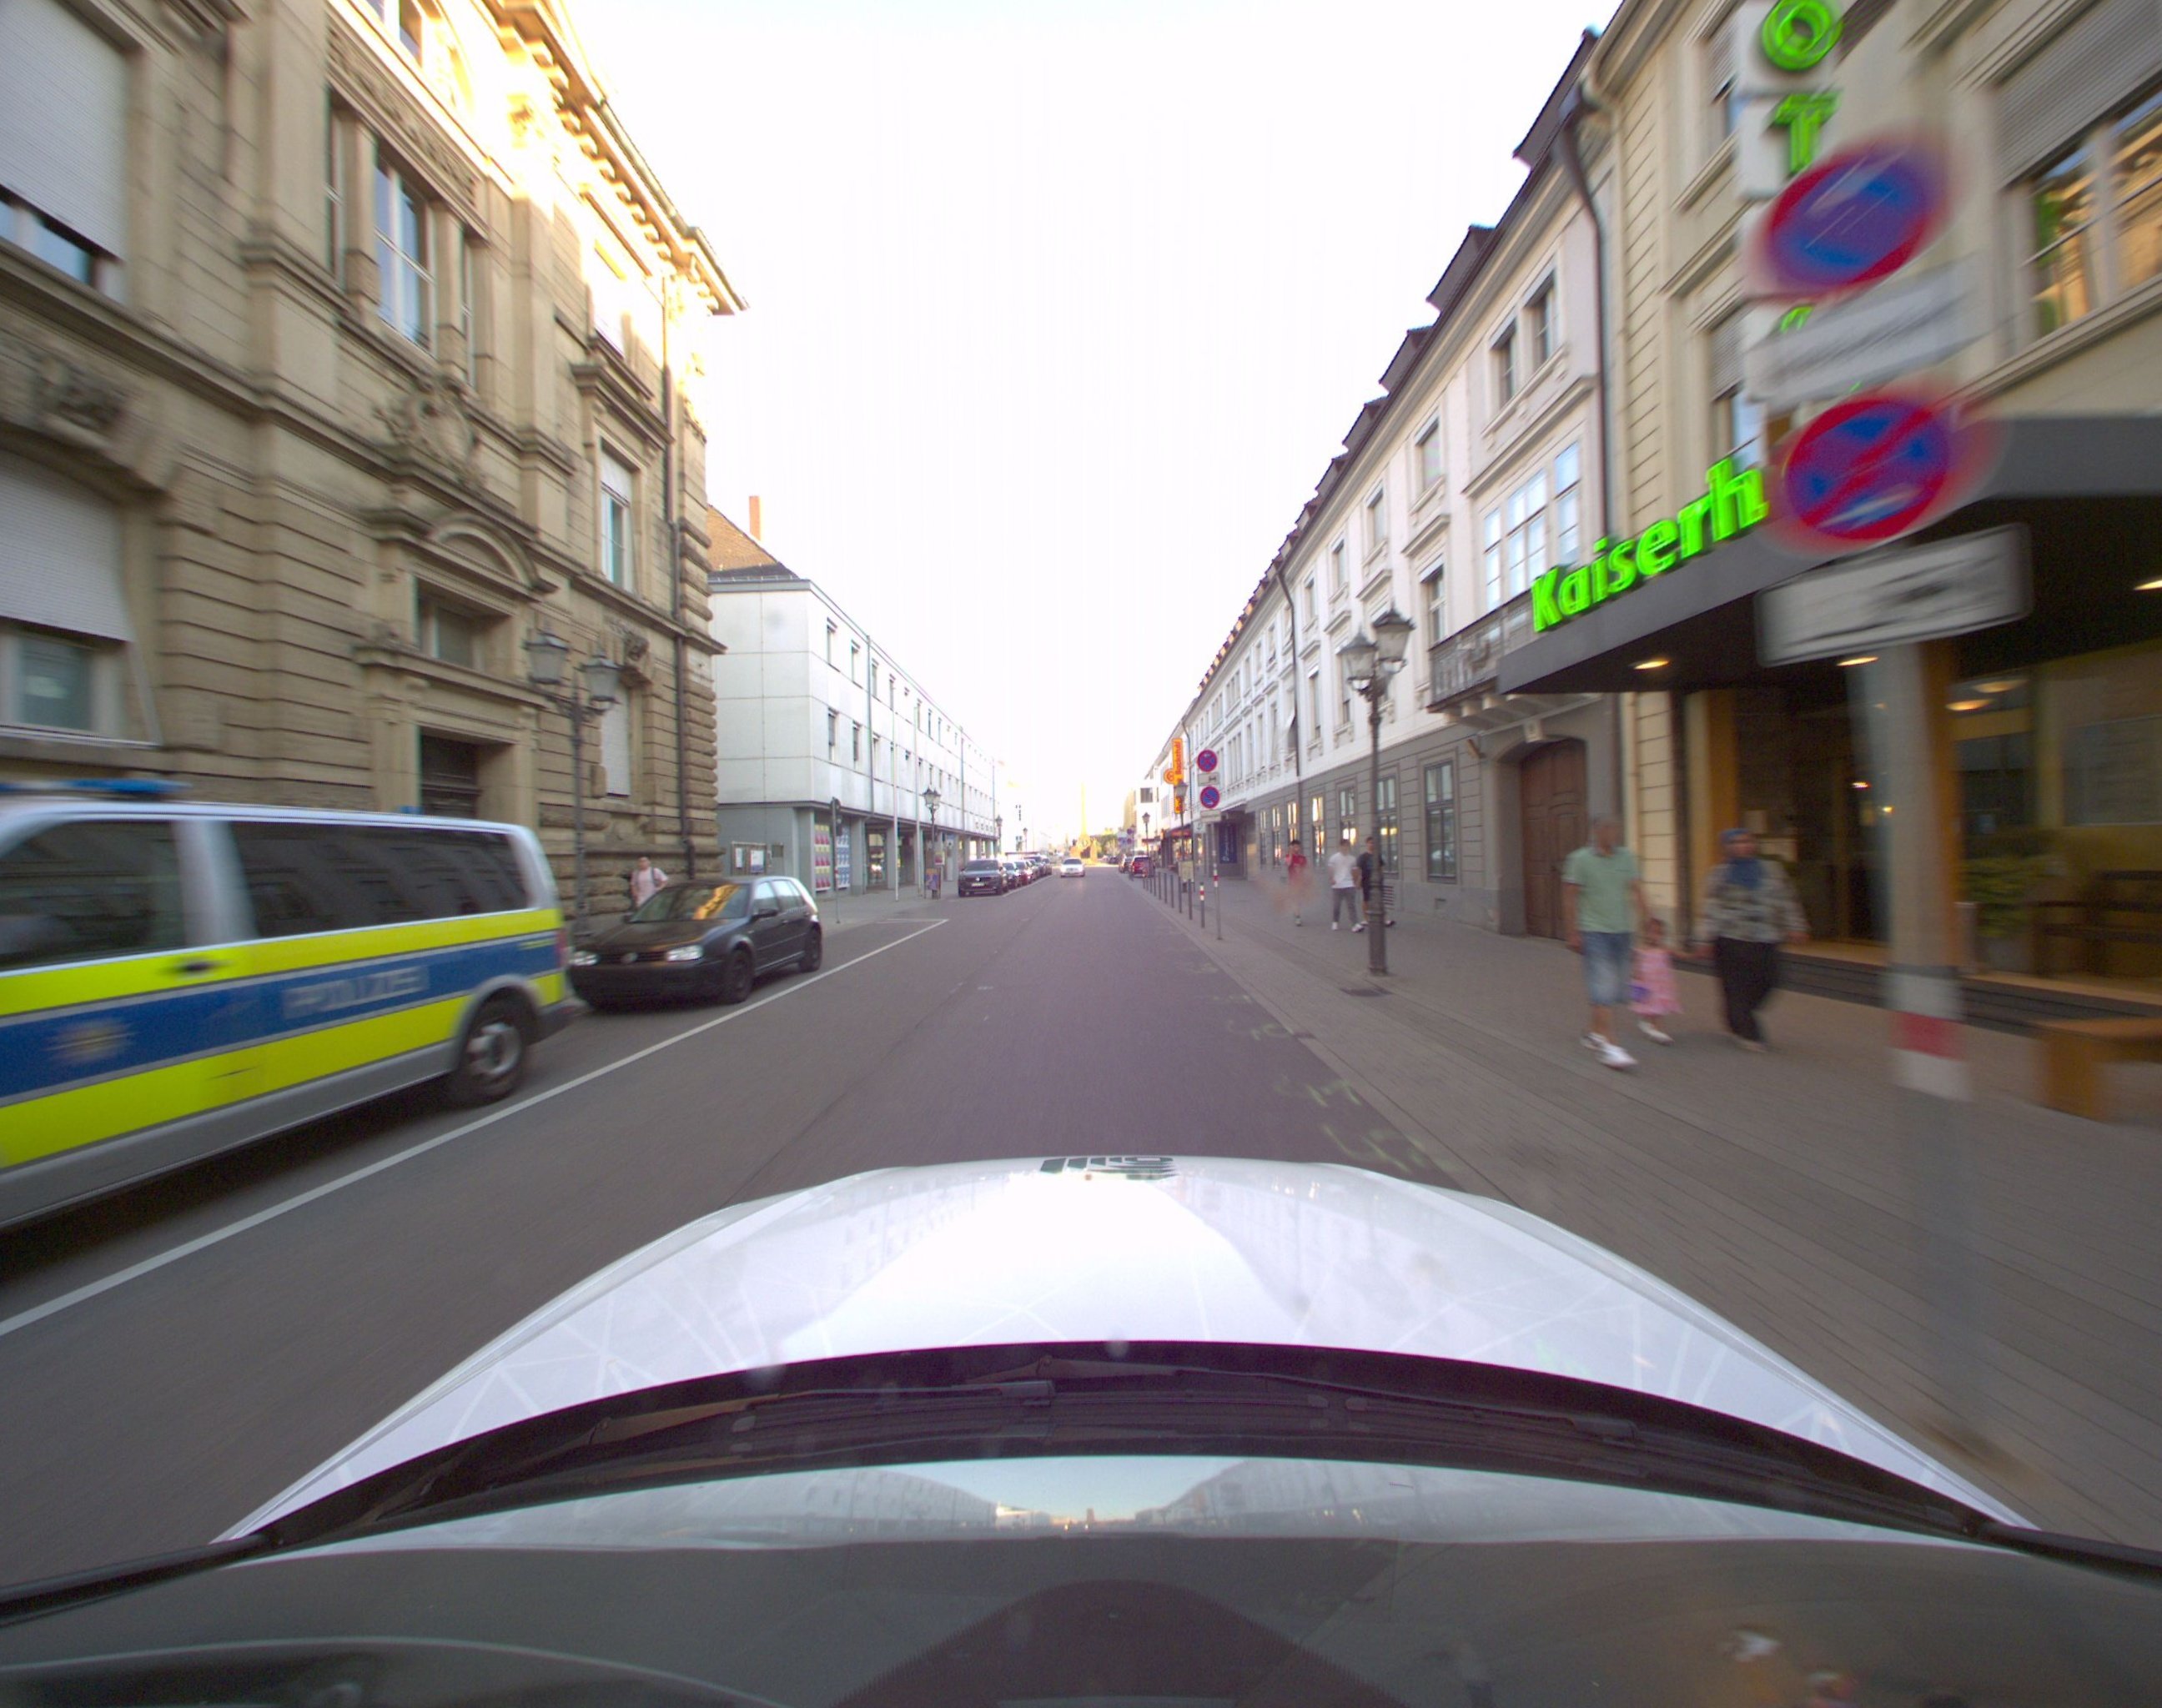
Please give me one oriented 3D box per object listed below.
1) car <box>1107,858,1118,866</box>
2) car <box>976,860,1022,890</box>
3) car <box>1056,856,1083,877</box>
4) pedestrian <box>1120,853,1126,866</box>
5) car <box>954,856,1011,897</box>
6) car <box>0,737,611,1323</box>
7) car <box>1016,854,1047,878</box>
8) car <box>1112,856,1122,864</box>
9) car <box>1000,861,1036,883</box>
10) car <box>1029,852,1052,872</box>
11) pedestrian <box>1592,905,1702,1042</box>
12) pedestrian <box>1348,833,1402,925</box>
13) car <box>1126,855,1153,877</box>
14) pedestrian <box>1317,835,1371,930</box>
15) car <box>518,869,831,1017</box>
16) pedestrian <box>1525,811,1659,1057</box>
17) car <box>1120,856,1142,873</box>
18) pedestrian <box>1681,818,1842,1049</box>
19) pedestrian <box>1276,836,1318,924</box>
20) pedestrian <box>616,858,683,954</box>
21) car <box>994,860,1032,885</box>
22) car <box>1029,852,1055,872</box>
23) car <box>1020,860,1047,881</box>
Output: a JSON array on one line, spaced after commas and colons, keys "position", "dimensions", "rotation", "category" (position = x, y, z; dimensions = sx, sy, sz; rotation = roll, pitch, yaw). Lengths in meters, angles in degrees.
[{"position": [6.037, 1.485, 154.511], "dimensions": [1.986, 1.464, 4.002], "rotation": [-2, 0, 2], "category": "car"}, {"position": [-4.214, 1.055, 42.216], "dimensions": [1.778, 1.408, 4.090], "rotation": [-2, 0, 2], "category": "car"}, {"position": [-0.798, 0.908, 61.111], "dimensions": [1.778, 1.408, 4.090], "rotation": [-2, 0, 2], "category": "car"}, {"position": [5.350, 0.744, 104.748], "dimensions": [0.688, 1.647, 0.695], "rotation": [-2, 0, 0], "category": "pedestrian"}, {"position": [-4.164, 0.913, 35.045], "dimensions": [1.778, 1.615, 4.167], "rotation": [-2, 0, 2], "category": "car"}, {"position": [-4.840, 0.669, 4.095], "dimensions": [1.987, 2.077, 4.989], "rotation": [-2, -1, 0], "category": "car"}, {"position": [-3.906, 0.952, 64.600], "dimensions": [1.986, 1.728, 4.517], "rotation": [-3, 0, 1], "category": "car"}, {"position": [7.248, 1.198, 162.975], "dimensions": [1.986, 1.464, 4.002], "rotation": [-2, 0, 2], "category": "car"}, {"position": [-4.107, 1.151, 53.637], "dimensions": [1.986, 1.354, 4.001], "rotation": [-2, 0, 1], "category": "car"}, {"position": [-3.998, 0.761, 80.450], "dimensions": [1.991, 1.816, 4.774], "rotation": [-1, 0, -6], "category": "car"}, {"position": [4.424, 0.916, 6.389], "dimensions": [0.458, 0.980, 0.559], "rotation": [-2, 0, 2], "category": "pedestrian"}, {"position": [5.747, 0.484, 15.957], "dimensions": [0.710, 1.730, 0.874], "rotation": [-2, 0, 3], "category": "pedestrian"}, {"position": [4.215, 0.856, 58.999], "dimensions": [1.753, 1.523, 3.678], "rotation": [-2, 0, 1], "category": "car"}, {"position": [4.991, 0.526, 15.509], "dimensions": [0.744, 1.730, 0.882], "rotation": [-2, 0, 4], "category": "pedestrian"}, {"position": [-5.068, 1.004, 10.949], "dimensions": [1.986, 1.494, 4.165], "rotation": [-2, -1, 1], "category": "car"}, {"position": [3.785, 0.569, 6.070], "dimensions": [0.605, 1.730, 0.559], "rotation": [-2, 0, 2], "category": "pedestrian"}, {"position": [4.435, 0.919, 72.849], "dimensions": [1.795, 1.464, 4.118], "rotation": [-2, 0, 1], "category": "car"}, {"position": [4.995, 0.555, 6.015], "dimensions": [0.627, 1.601, 0.615], "rotation": [-2, 0, 2], "category": "pedestrian"}, {"position": [4.549, 0.528, 17.217], "dimensions": [0.618, 1.789, 0.914], "rotation": [-2, 0, 2], "category": "pedestrian"}, {"position": [-8.119, 0.951, 15.358], "dimensions": [0.711, 1.730, 0.897], "rotation": [1, 0, 2], "category": "pedestrian"}, {"position": [-4.101, 1.098, 49.602], "dimensions": [1.778, 1.408, 4.090], "rotation": [-2, 0, 2], "category": "car"}, {"position": [-3.386, 0.713, 71.704], "dimensions": [1.986, 1.662, 4.001], "rotation": [-2, 0, 1], "category": "car"}, {"position": [-3.387, 1.146, 58.839], "dimensions": [1.667, 1.400, 4.000], "rotation": [-2, 0, 0], "category": "car"}]
